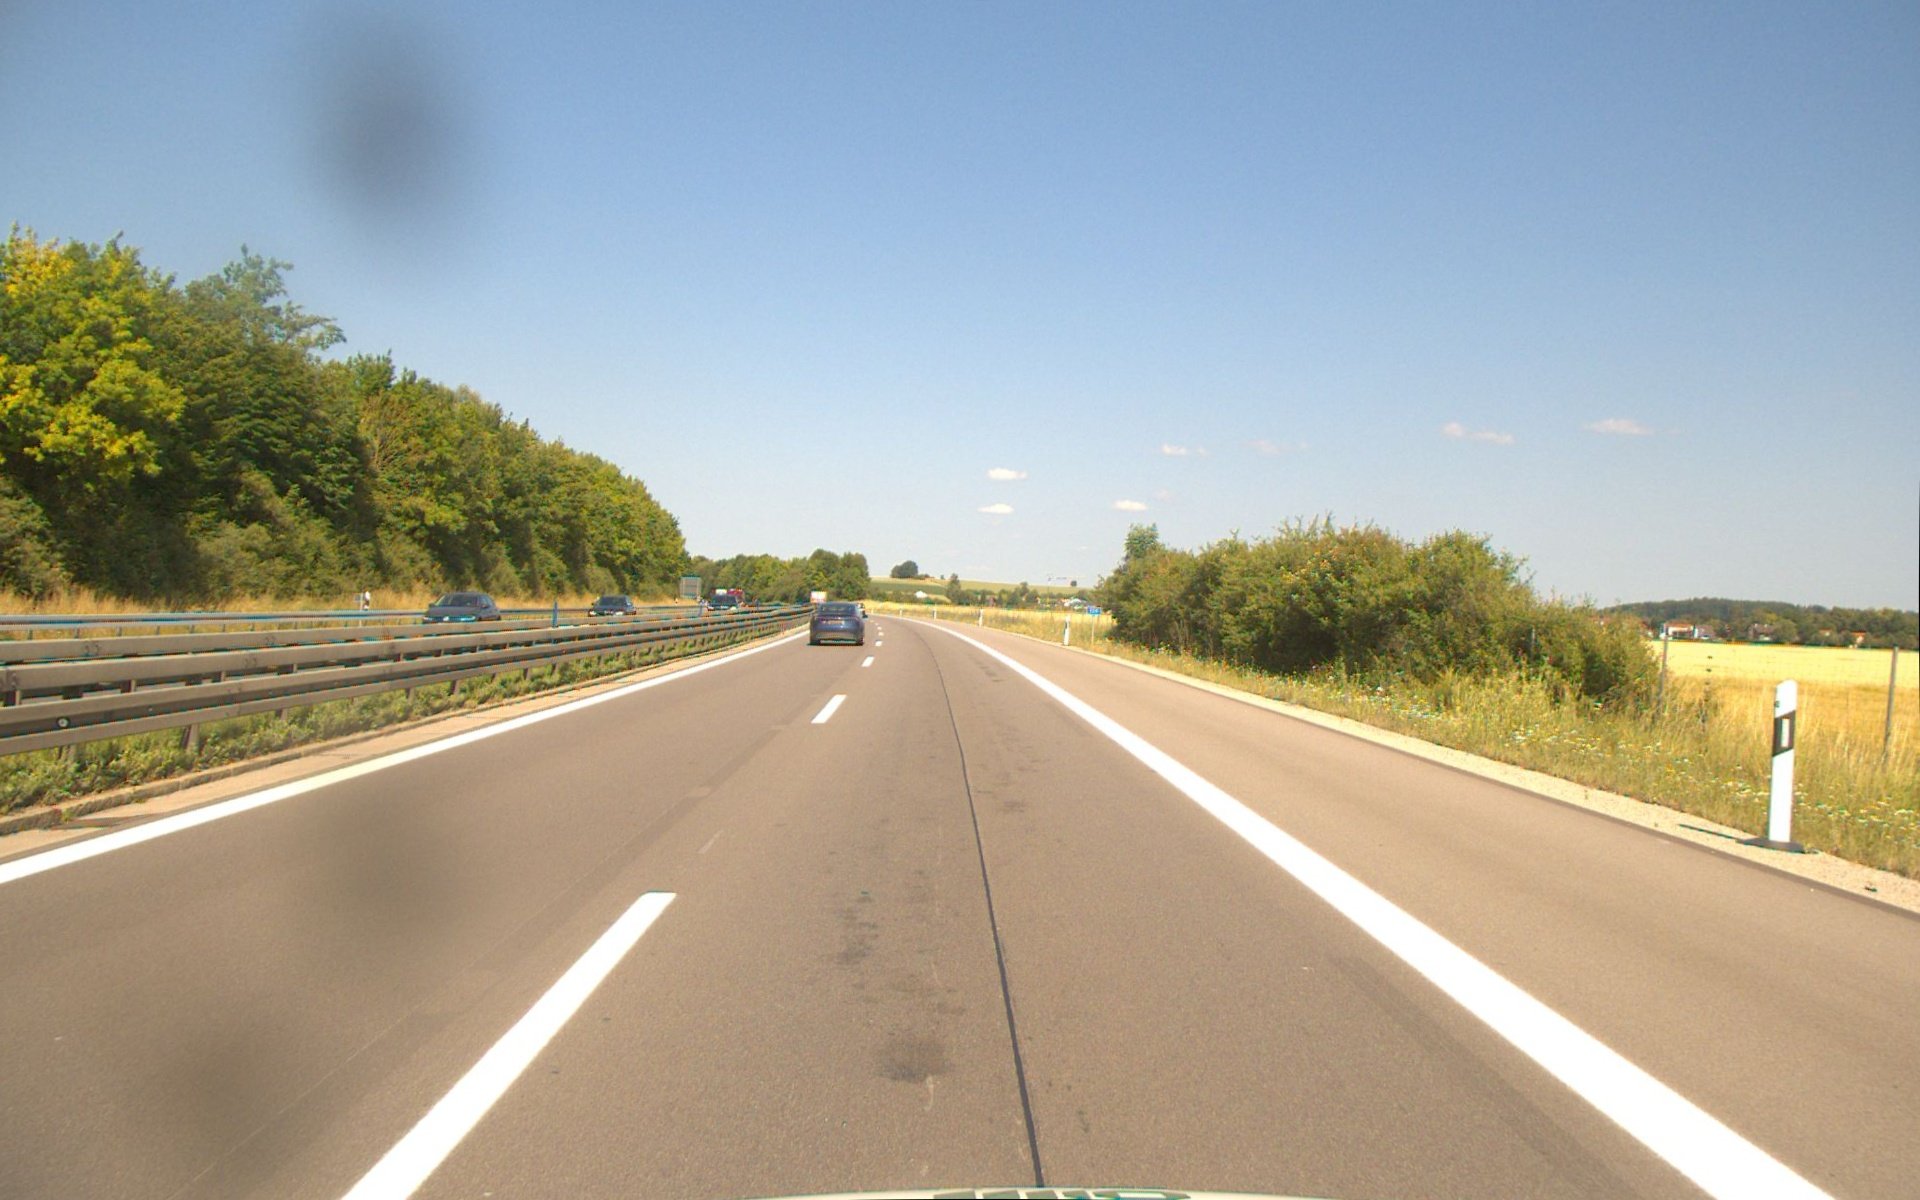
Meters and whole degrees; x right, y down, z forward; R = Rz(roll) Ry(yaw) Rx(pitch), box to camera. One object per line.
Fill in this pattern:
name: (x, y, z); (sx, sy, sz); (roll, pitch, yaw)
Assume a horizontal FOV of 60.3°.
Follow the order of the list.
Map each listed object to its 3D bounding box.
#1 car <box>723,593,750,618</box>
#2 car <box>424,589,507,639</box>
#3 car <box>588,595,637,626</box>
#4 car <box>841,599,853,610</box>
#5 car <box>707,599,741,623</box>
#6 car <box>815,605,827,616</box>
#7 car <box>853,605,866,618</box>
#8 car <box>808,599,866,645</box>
car: (-25.051, 0.571, 185.451); (2.493, 2.640, 6.588); (2, 0, -3)
car: (-15.653, 0.427, 52.536); (1.547, 1.487, 4.150); (2, 0, -3)
car: (-16.613, 0.493, 79.168); (1.629, 1.447, 3.998); (1, 0, -2)
car: (-16.434, 0.680, 239.856); (1.644, 1.479, 3.587); (1, 0, -6)
car: (-14.727, 0.669, 103.354); (1.629, 1.447, 3.998); (1, 0, -2)
car: (-19.701, 1.536, 234.971); (1.643, 1.479, 3.588); (1, 0, -5)
car: (-12.595, 1.452, 207.206); (1.643, 1.479, 3.588); (1, 0, -4)
car: (-4.234, 0.714, 57.677); (1.810, 1.458, 5.863); (1, 0, -3)
